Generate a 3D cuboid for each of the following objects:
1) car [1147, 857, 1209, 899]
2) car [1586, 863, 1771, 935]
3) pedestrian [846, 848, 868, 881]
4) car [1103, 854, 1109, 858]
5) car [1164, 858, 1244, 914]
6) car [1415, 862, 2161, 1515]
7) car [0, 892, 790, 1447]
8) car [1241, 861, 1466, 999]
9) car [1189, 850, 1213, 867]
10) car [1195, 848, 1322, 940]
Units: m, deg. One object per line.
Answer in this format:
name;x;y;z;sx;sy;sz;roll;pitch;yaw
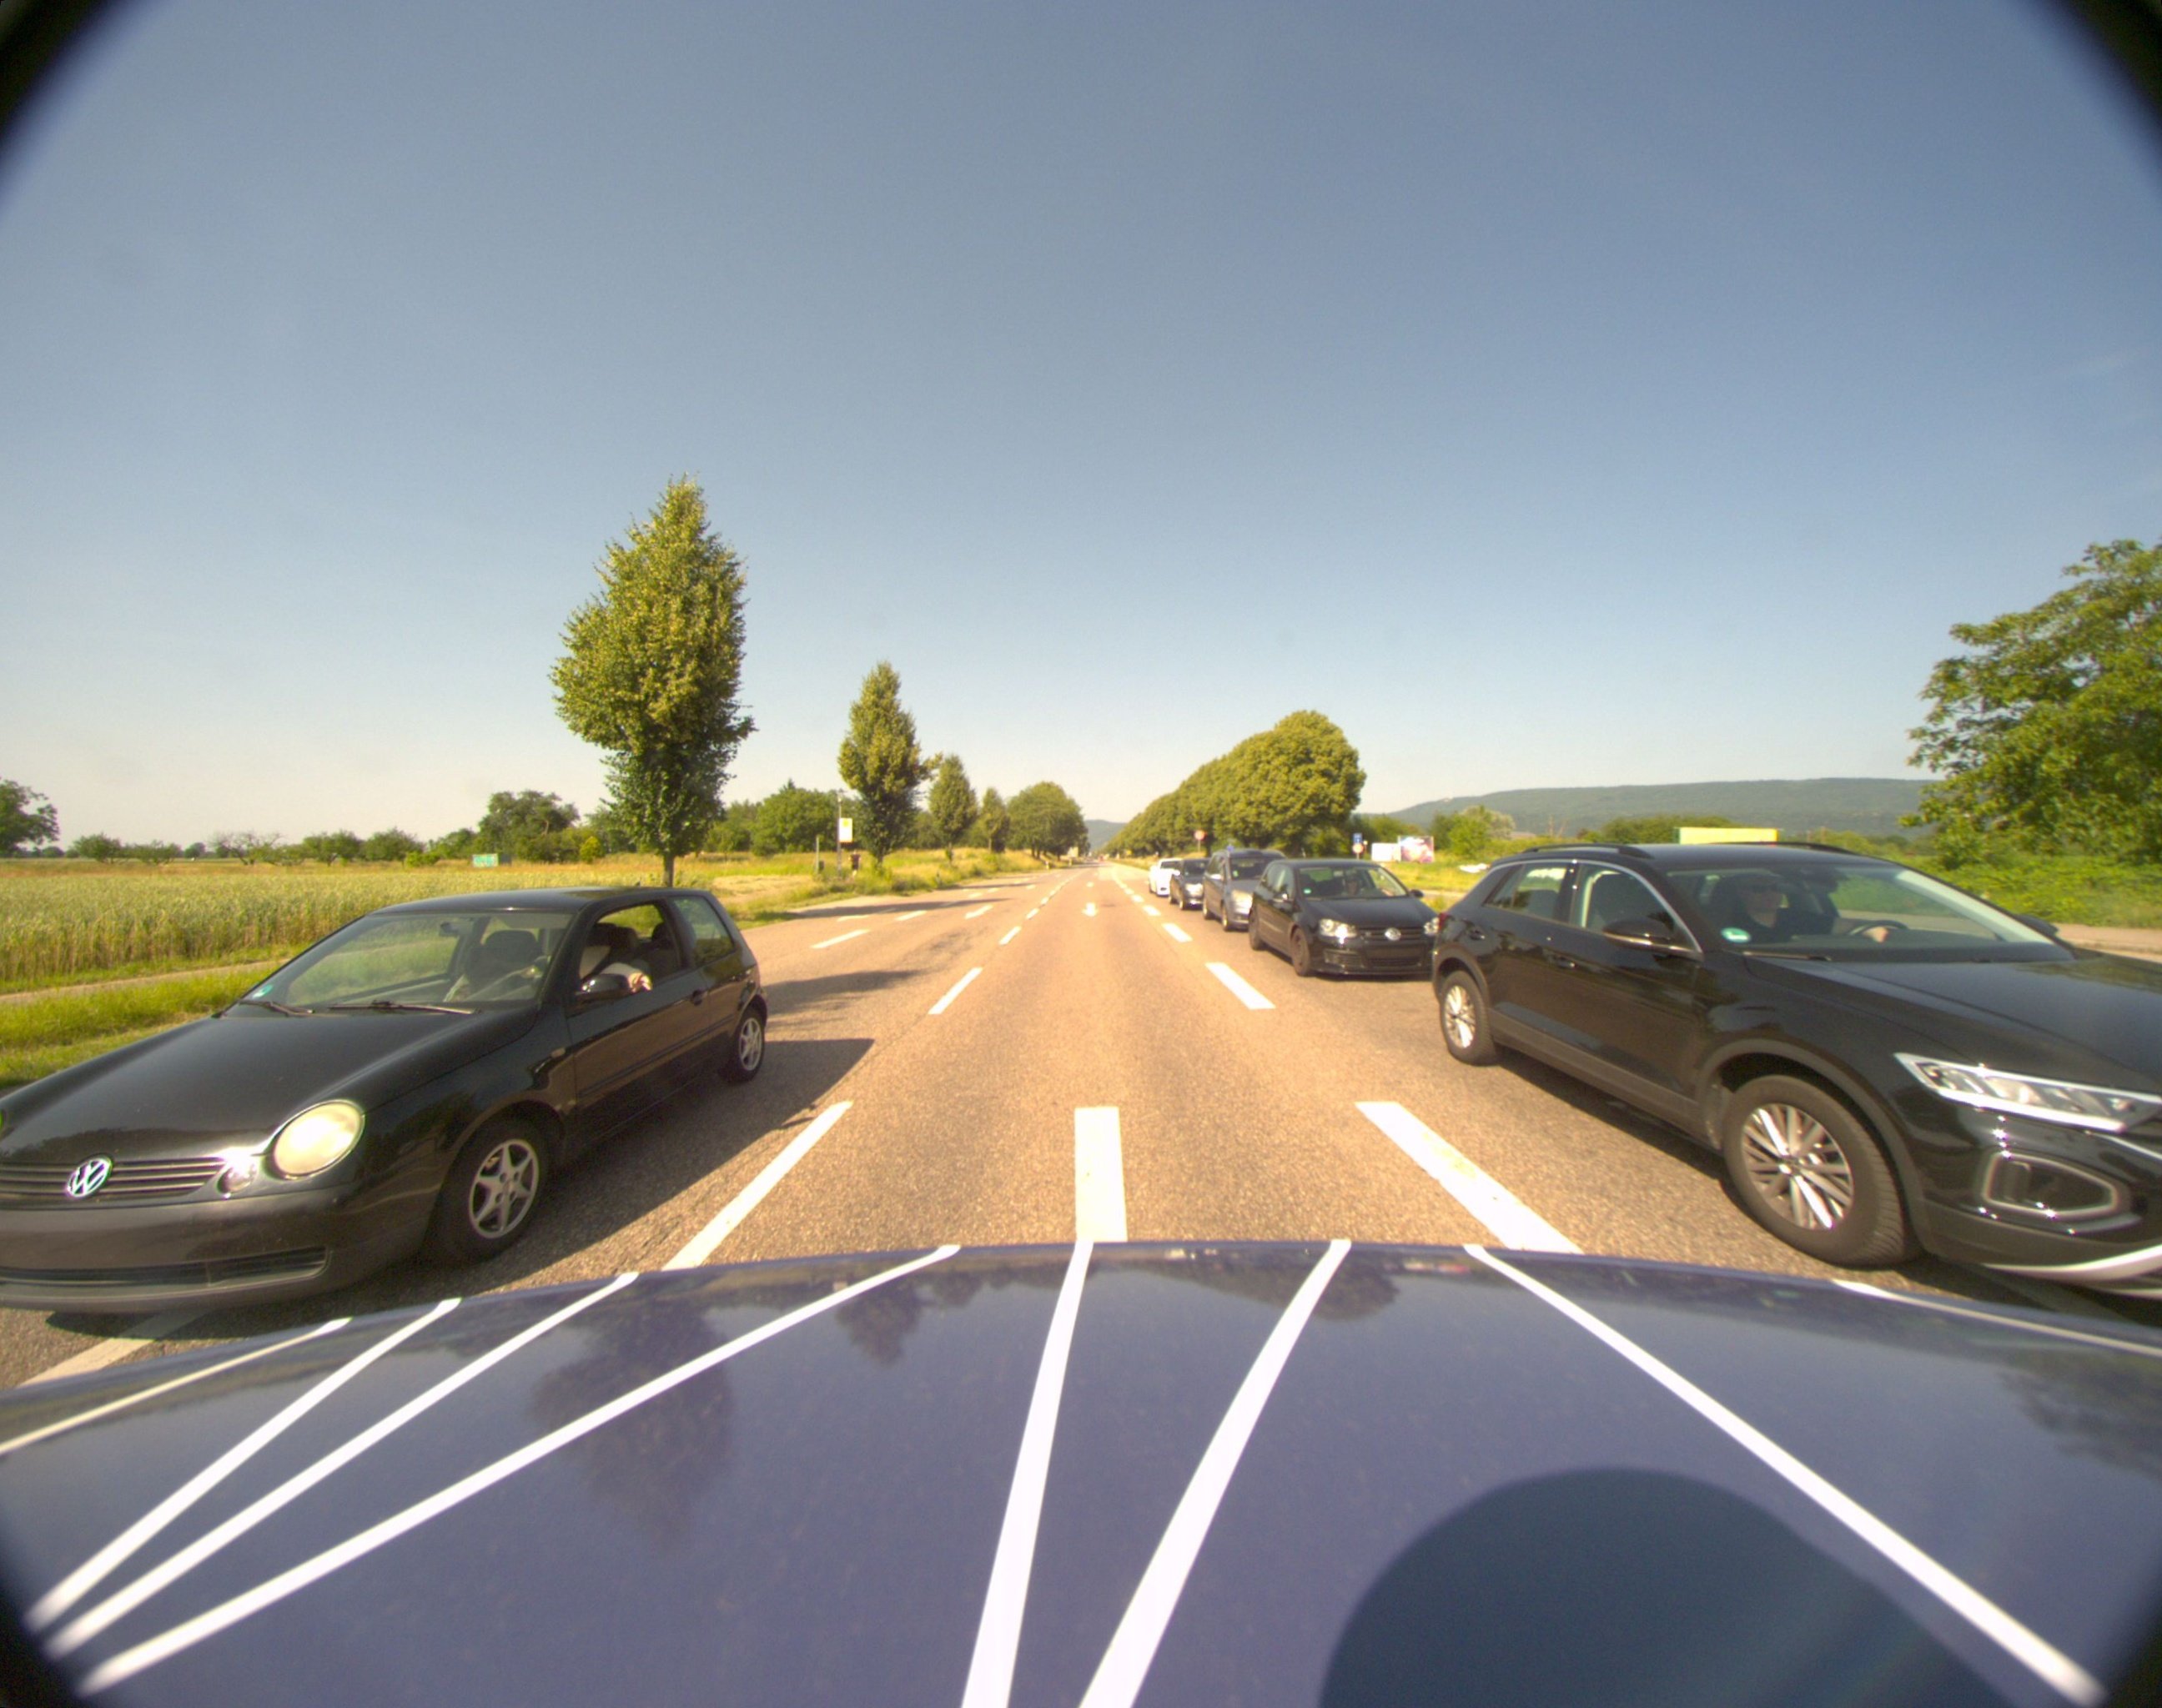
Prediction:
car;3.632;0.859;29.192;1.808;1.417;4.641;-1;0;1
car;14.264;0.998;18.432;1.618;1.433;3.777;2;0;4
pedestrian;-12.481;0.565;42.421;0.904;1.828;1.194;0;0;-1
car;7.997;0.613;240.562;1.680;1.499;3.725;1;0;1
car;3.487;0.861;22.267;1.719;1.402;4.355;-1;0;1
car;3.457;0.848;3.903;1.733;1.538;4.098;-1;0;1
car;-3.109;1.038;4.053;1.629;1.425;3.622;-2;0;1
car;3.443;0.862;10.442;1.670;1.466;4.098;-1;0;1
car;11.612;0.406;73.996;1.887;1.506;4.149;2;0;3
car;3.618;0.738;16.274;1.745;1.662;4.357;-1;0;1
